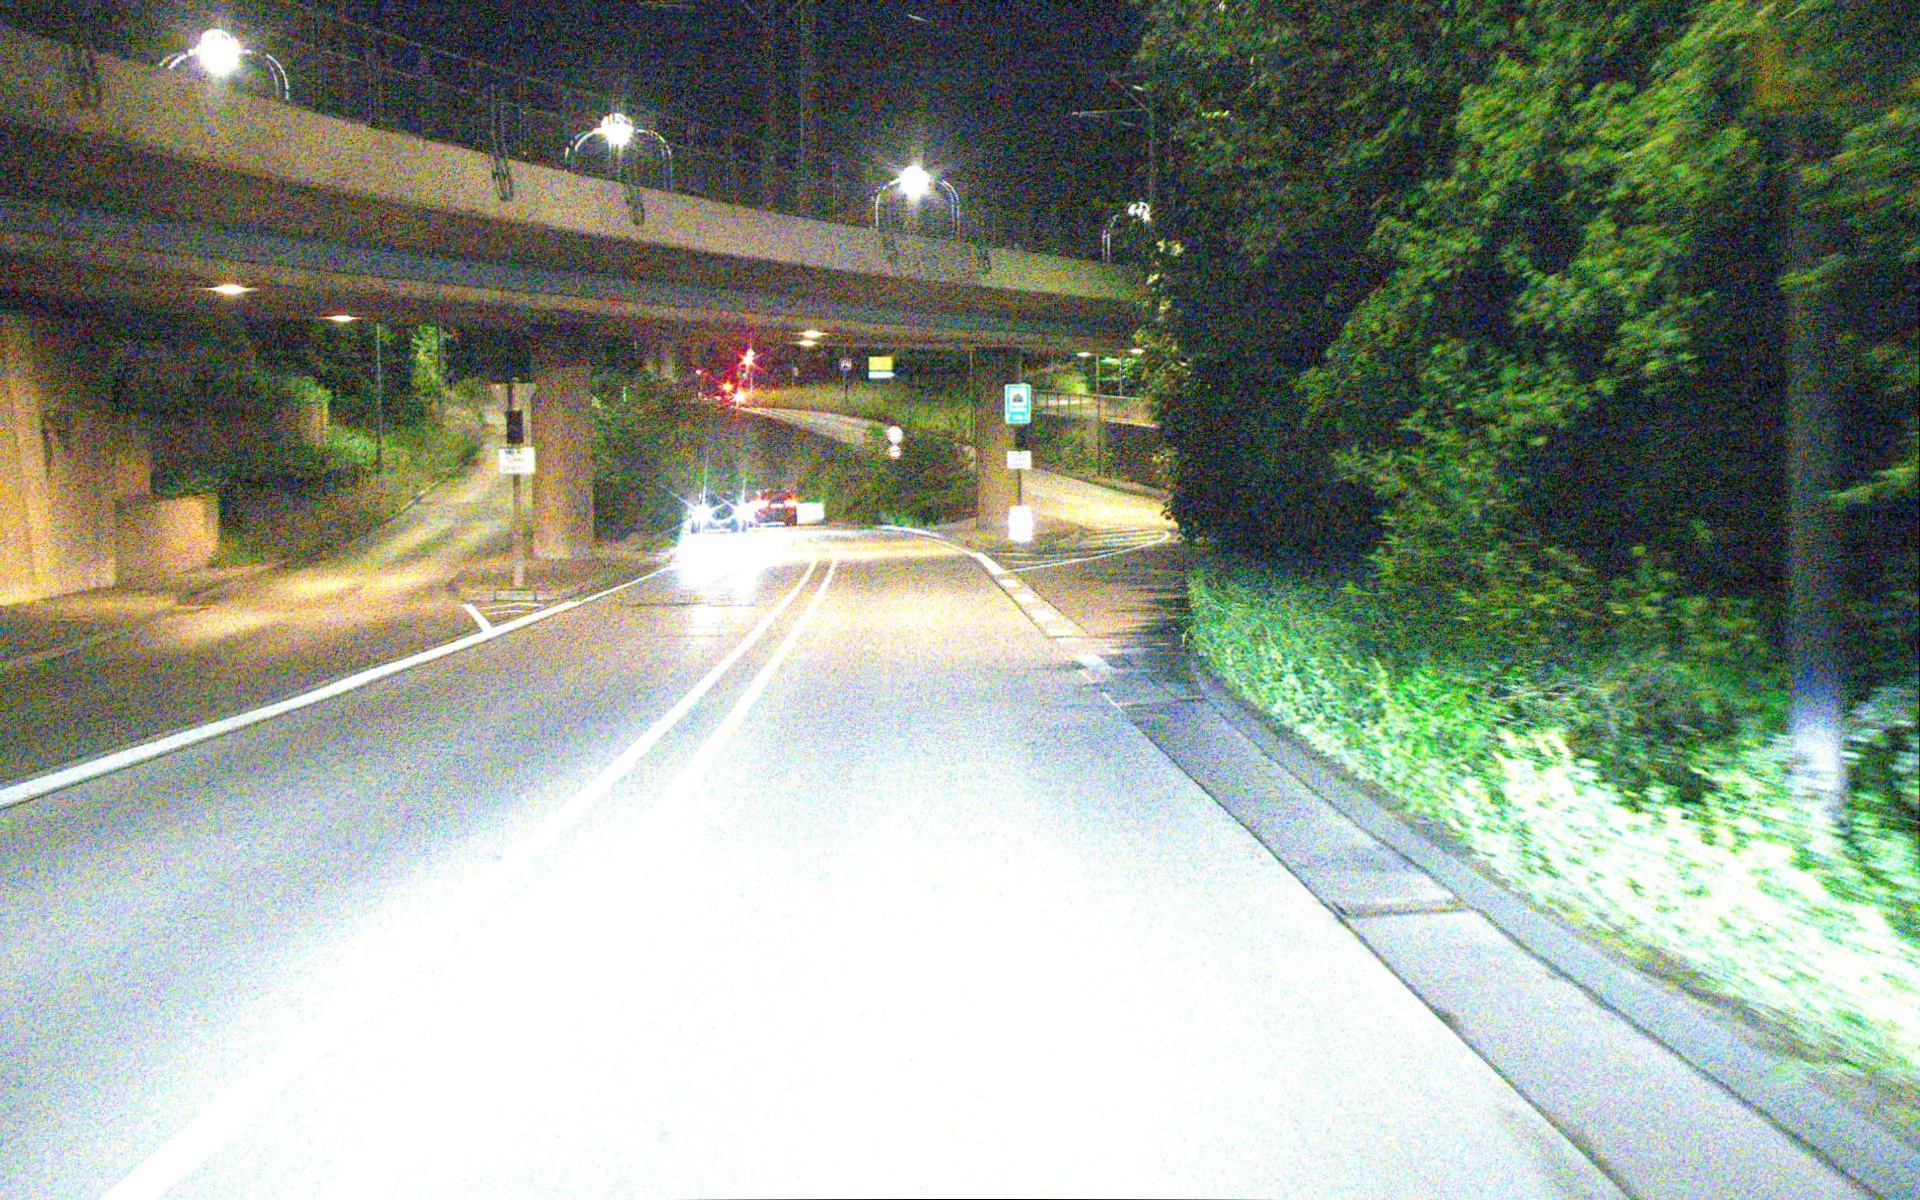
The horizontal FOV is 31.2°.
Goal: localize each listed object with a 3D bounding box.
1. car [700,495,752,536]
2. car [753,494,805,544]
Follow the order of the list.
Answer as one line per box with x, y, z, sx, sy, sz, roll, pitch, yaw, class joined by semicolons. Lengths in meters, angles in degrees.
-9.174;-3.294;134.617;1.881;1.549;4.219;-2;1;-6;car
-7.678;-3.399;145.302;1.918;2.007;4.123;1;0;-6;car
